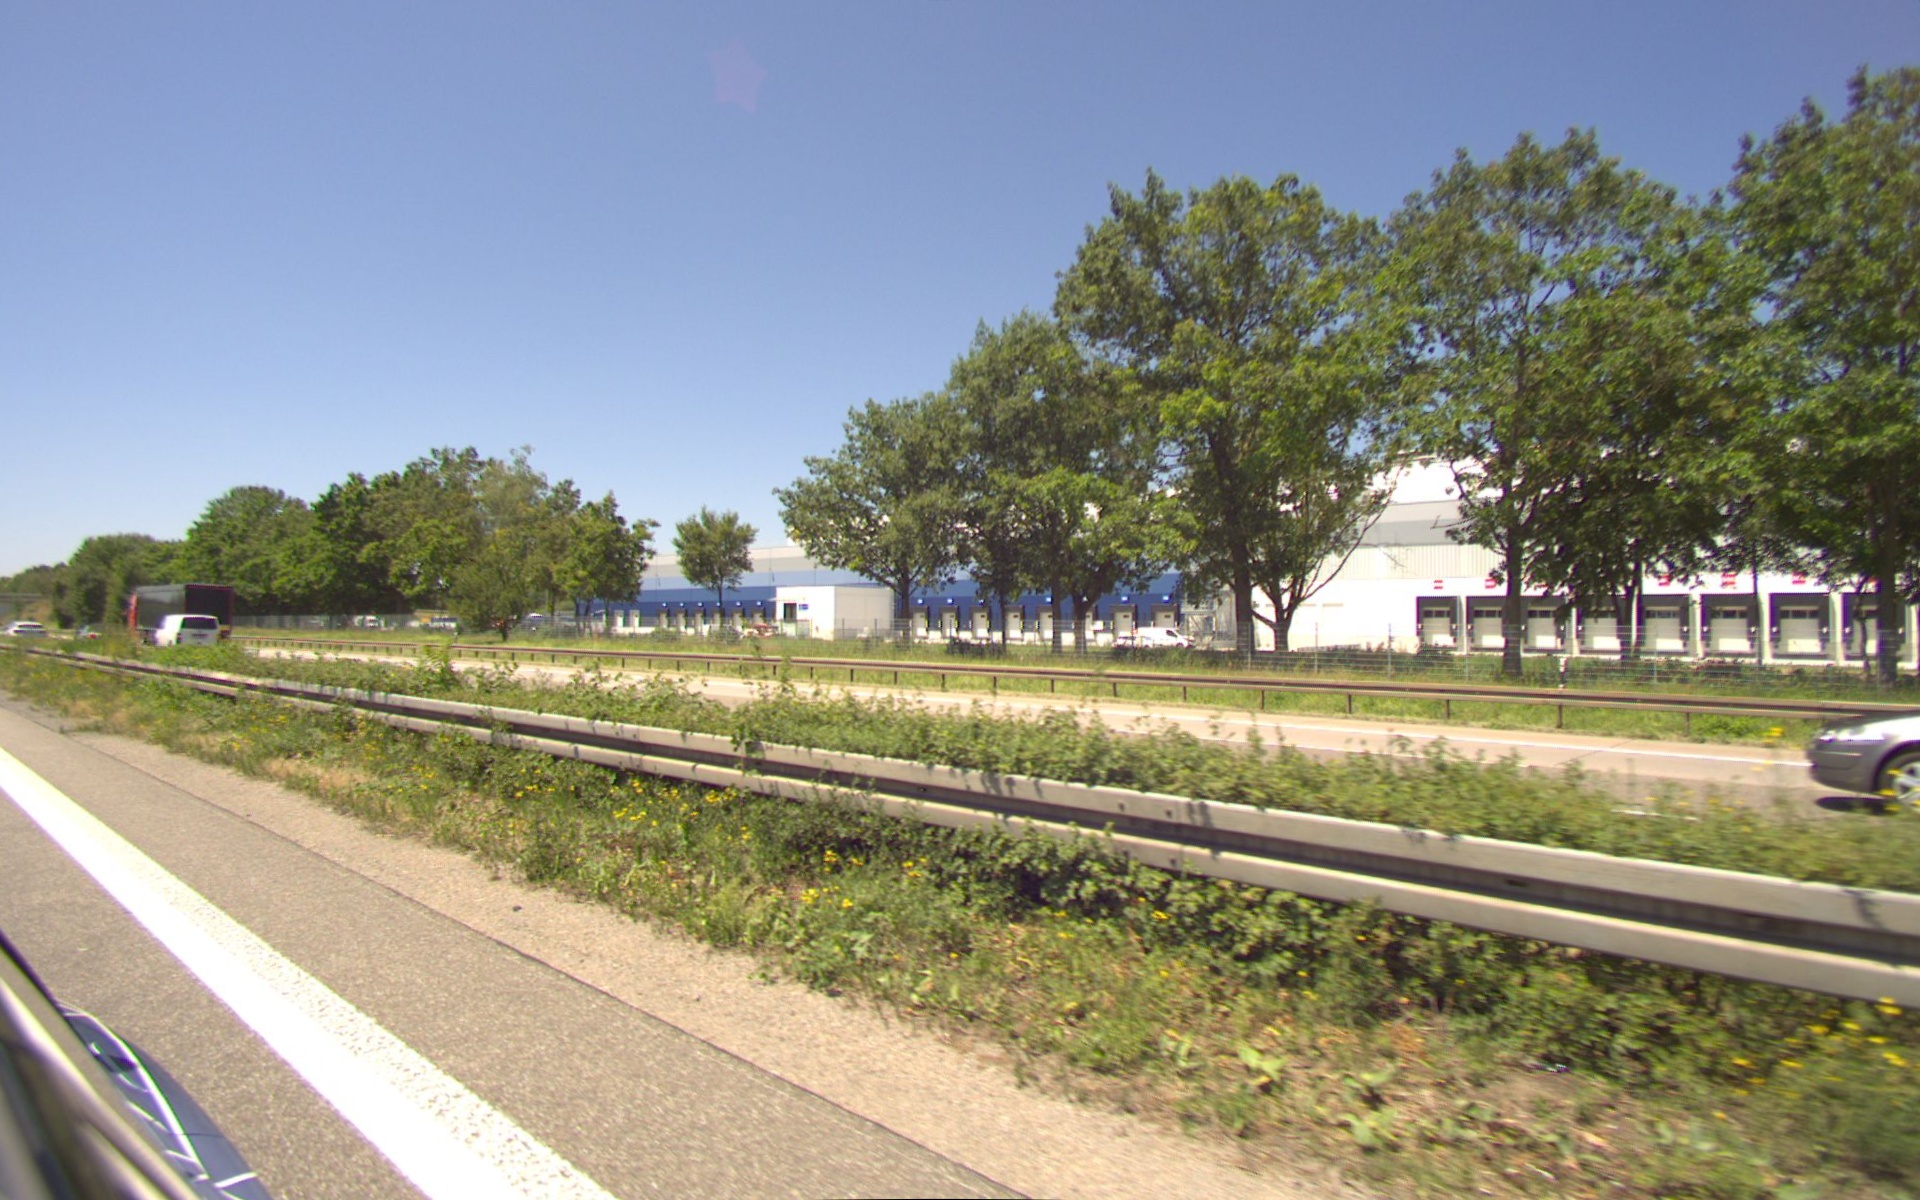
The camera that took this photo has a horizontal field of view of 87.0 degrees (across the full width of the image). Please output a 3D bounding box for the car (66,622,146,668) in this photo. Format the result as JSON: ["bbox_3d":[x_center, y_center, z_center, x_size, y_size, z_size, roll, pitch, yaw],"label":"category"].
[{"bbox_3d":[-37.851,1.998,44.834,3.996,1.927,1.975,-1,-4,40],"label":"car"}]

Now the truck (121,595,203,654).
[{"bbox_3d":[-56.853,1.802,72.071,6.218,3.961,3.403,-2,-4,41],"label":"truck"}]

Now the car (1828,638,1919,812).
[{"bbox_3d":[9.983,1.057,8.048,4.594,1.450,1.838,-1,-4,40],"label":"car"}]

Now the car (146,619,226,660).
[{"bbox_3d":[-38.460,1.963,50.243,5.207,1.927,1.975,-1,-4,40],"label":"car"}]

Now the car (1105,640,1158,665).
[{"bbox_3d":[14.444,4.407,85.233,3.998,2.029,1.973,-2,-3,41],"label":"car"}]

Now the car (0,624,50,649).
[{"bbox_3d":[-58.912,2.291,63.565,4.864,1.540,1.901,-2,-4,41],"label":"car"}]

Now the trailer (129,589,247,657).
[{"bbox_3d":[-51.785,1.614,67.610,14.197,4.042,3.411,-2,-4,42],"label":"trailer"}]

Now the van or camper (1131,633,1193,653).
[{"bbox_3d":[17.781,3.791,89.236,5.018,1.665,1.972,-2,-3,41],"label":"van or camper"}]
